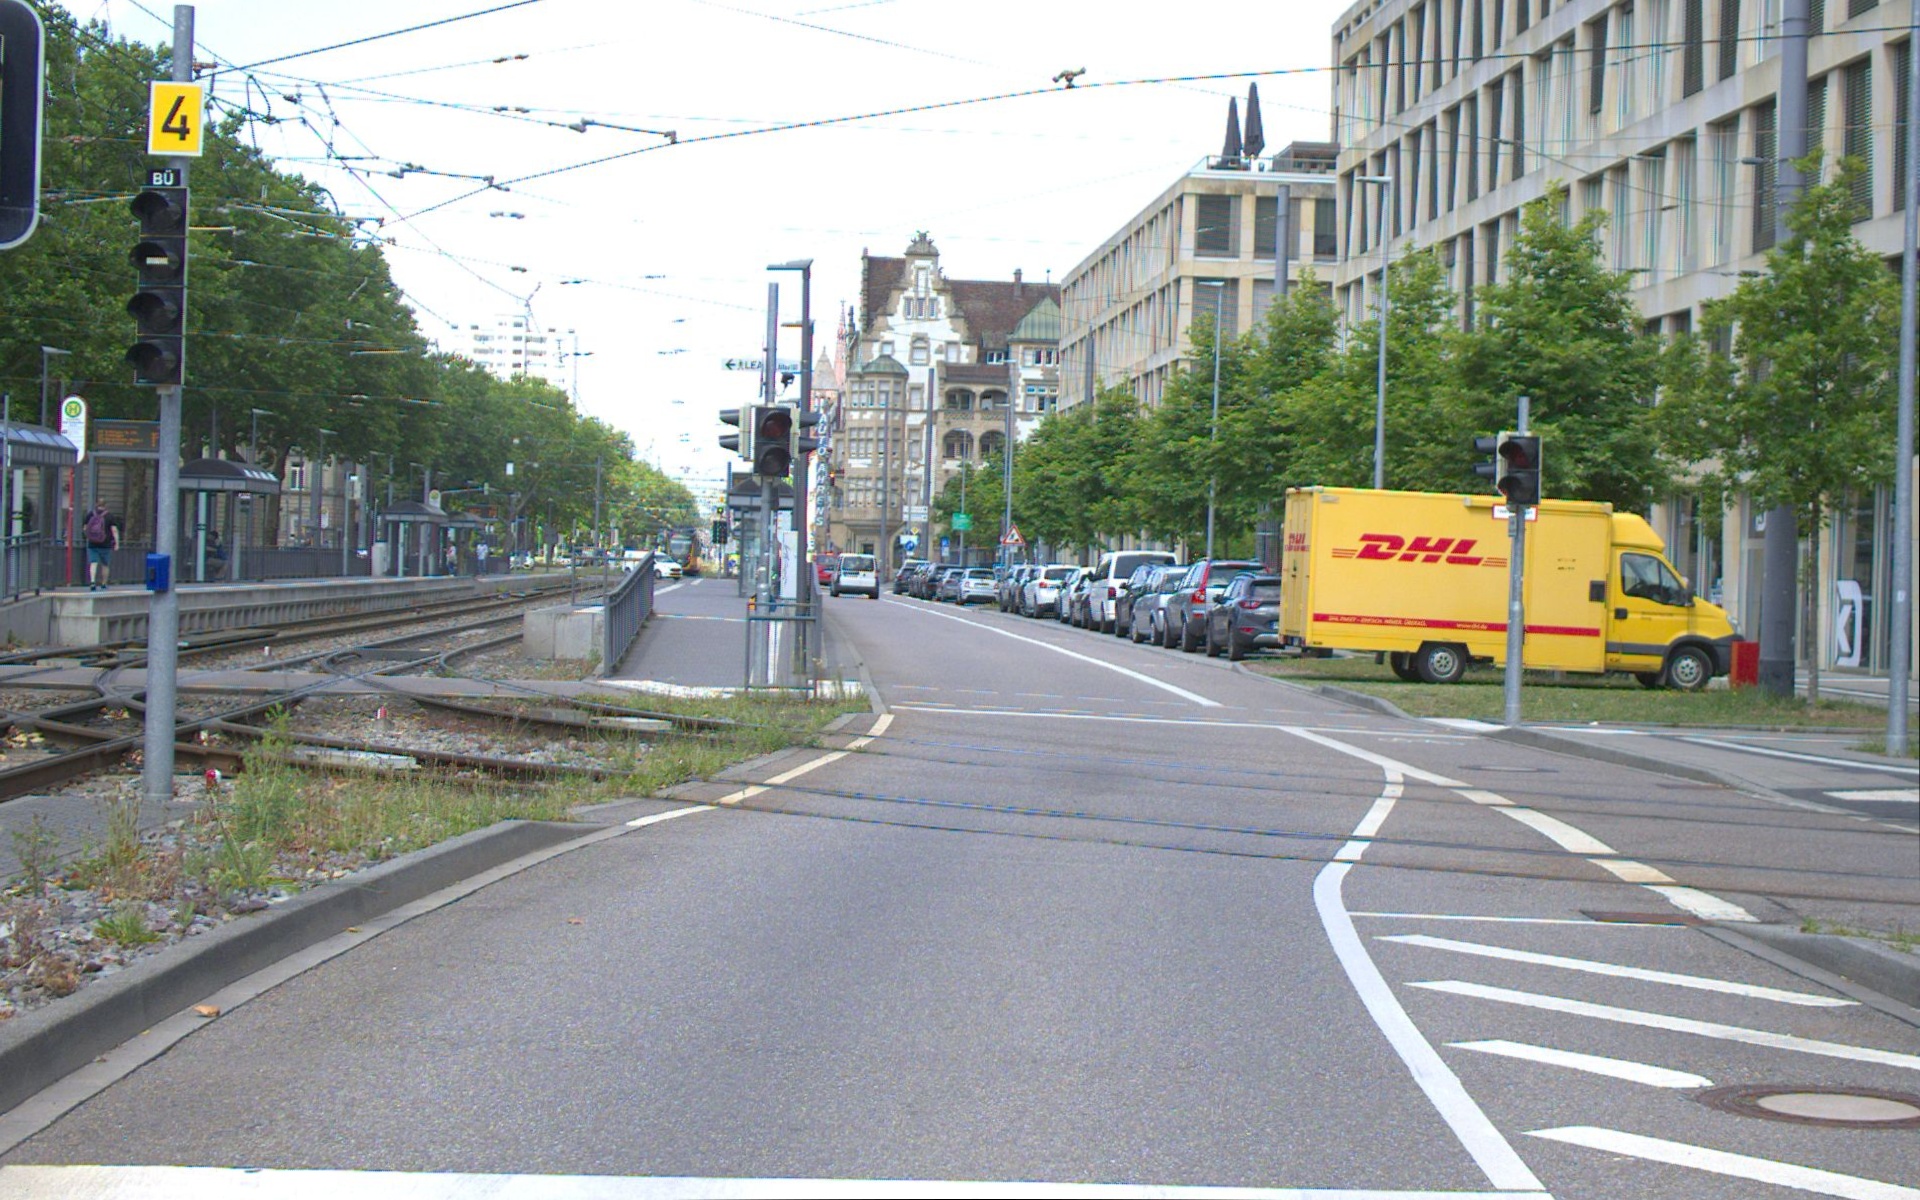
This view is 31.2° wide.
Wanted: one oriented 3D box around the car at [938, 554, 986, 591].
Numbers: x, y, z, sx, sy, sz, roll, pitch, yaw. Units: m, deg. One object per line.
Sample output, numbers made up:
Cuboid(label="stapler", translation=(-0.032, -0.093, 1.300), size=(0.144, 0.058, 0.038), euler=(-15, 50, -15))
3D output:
Cuboid(label="car", translation=(0.060, -1.196, 147.130), size=(1.591, 1.429, 4.108), euler=(4, 0, -5))

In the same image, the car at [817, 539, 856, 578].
Cuboid(label="car", translation=(-6.638, -2.205, 184.275), size=(1.993, 2.007, 4.000), euler=(1, 0, -3))

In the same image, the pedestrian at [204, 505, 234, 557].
Cuboid(label="pedestrian", translation=(-18.230, -1.698, 84.621), size=(0.552, 1.265, 0.768), euler=(2, 0, -2))

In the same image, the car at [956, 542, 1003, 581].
Cuboid(label="car", translation=(0.756, -1.524, 135.824), size=(1.591, 1.455, 3.613), euler=(4, 1, -2))

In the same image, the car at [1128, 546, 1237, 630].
Cuboid(label="car", translation=(4.560, -0.258, 70.896), size=(1.721, 1.614, 3.860), euler=(2, 0, -4))

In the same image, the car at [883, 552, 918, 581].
Cuboid(label="car", translation=(-3.024, -1.691, 173.922), size=(1.443, 1.465, 4.093), euler=(0, 1, -5))

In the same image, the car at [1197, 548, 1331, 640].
Cuboid(label="car", translation=(5.298, -0.123, 60.324), size=(1.691, 1.499, 4.068), euler=(2, 0, -4))

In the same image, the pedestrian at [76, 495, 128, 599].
Cuboid(label="pedestrian", translation=(-15.454, -0.960, 61.925), size=(0.706, 1.838, 0.865), euler=(2, 1, -3))

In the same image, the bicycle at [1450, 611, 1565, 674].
Cuboid(label="bicycle", translation=(9.352, 0.724, 58.730), size=(1.841, 0.953, 0.382), euler=(3, 0, -4))

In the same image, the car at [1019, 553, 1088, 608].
Cuboid(label="car", translation=(2.774, -0.591, 103.134), size=(1.685, 1.600, 4.152), euler=(1, 0, -4))

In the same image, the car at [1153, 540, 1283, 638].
Cuboid(label="car", translation=(4.896, -0.225, 65.826), size=(1.769, 1.761, 4.840), euler=(2, 0, -4))

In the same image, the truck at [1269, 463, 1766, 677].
Cuboid(label="truck", translation=(8.228, -0.431, 51.156), size=(6.804, 2.857, 2.455), euler=(2, 0, -5))

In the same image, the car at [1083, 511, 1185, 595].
Cuboid(label="car", translation=(4.128, -1.115, 82.355), size=(1.881, 1.932, 4.844), euler=(1, 0, -4))

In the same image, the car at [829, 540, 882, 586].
Cuboid(label="car", translation=(-4.272, -1.493, 139.729), size=(1.868, 1.740, 4.001), euler=(3, 0, -4))
